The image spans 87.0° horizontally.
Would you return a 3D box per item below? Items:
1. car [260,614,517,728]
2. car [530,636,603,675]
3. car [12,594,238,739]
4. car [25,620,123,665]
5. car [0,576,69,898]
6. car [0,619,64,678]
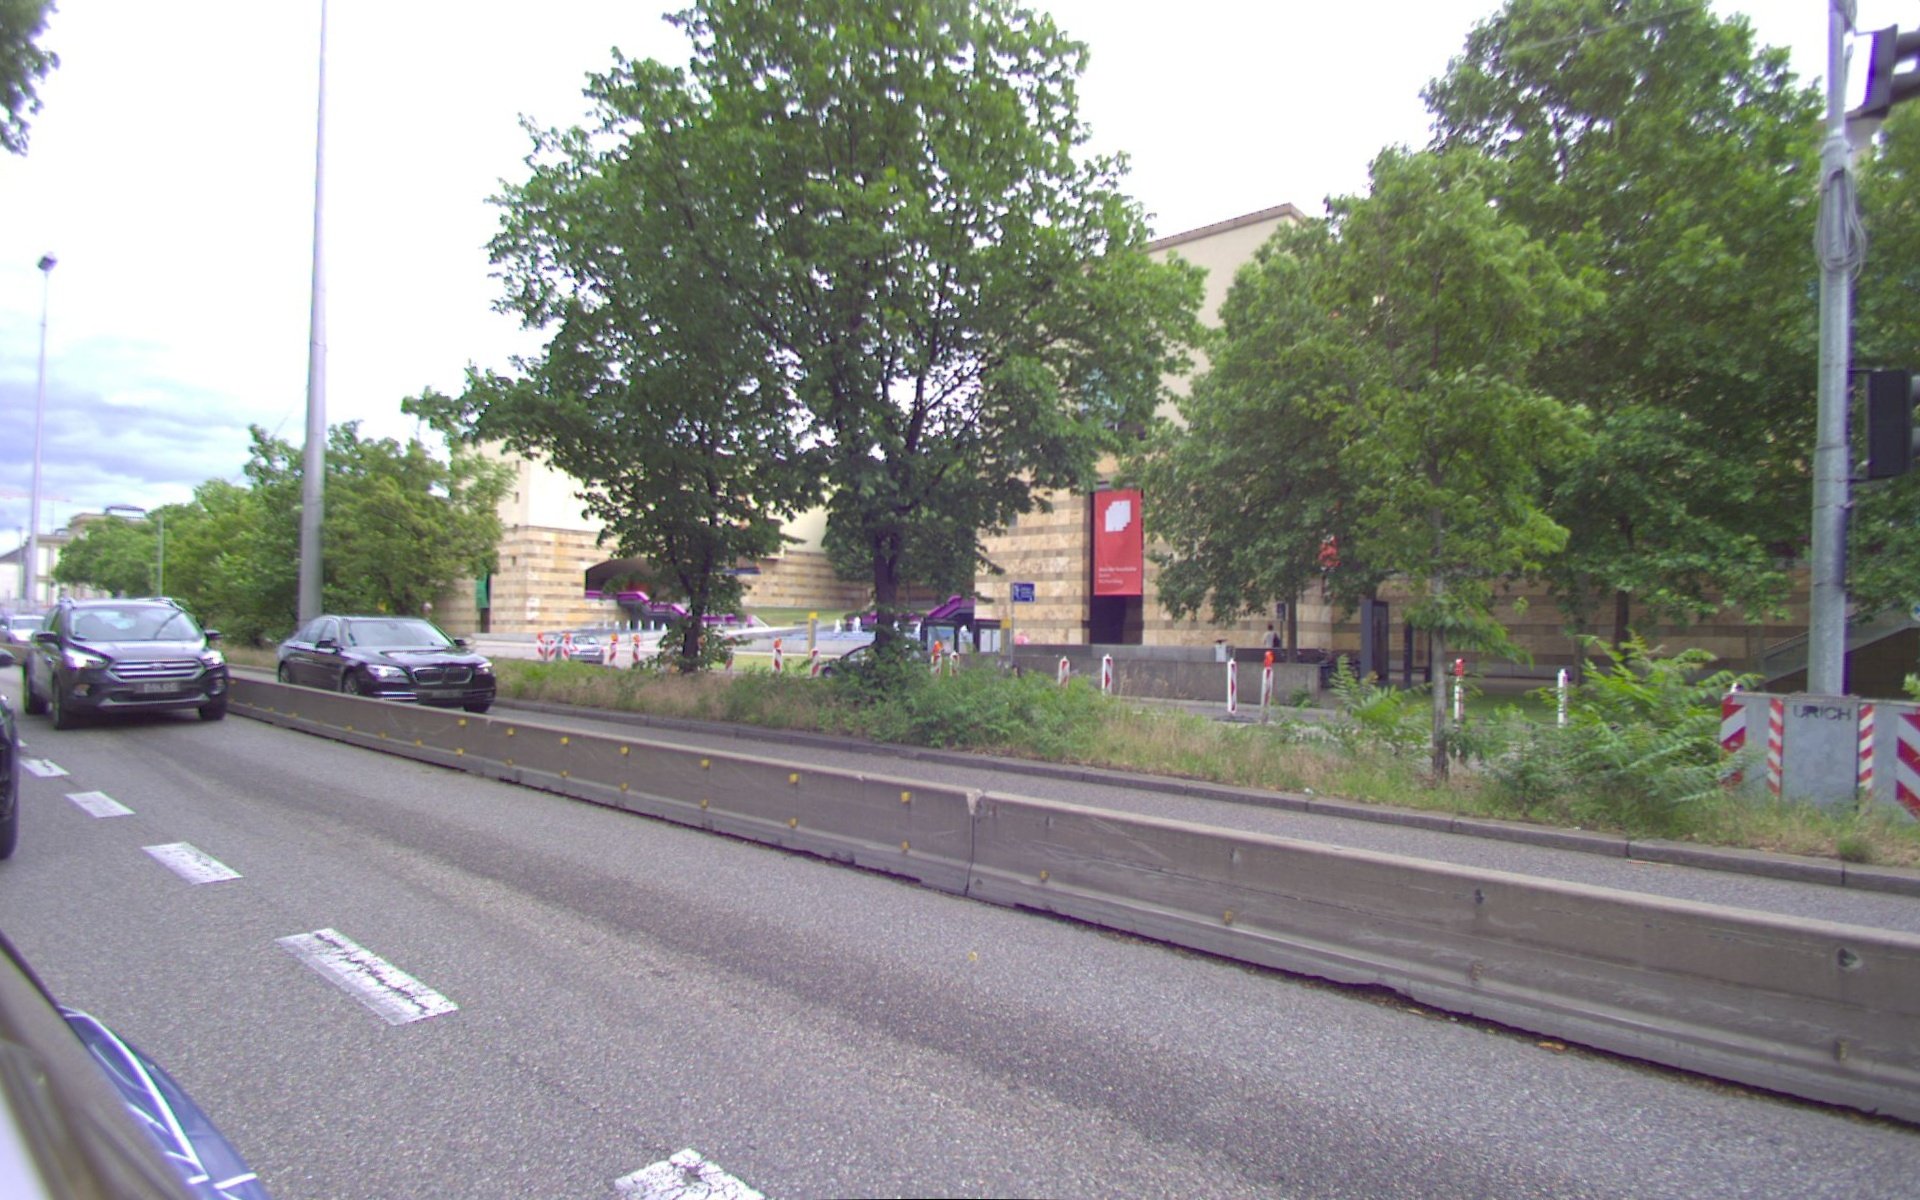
[{"bbox_3d":[-8.930,0.995,15.631,4.807,1.494,1.972,-1,-3,41],"label":"car"},{"bbox_3d":[-17.629,2.444,45.272,3.578,1.621,1.561,-1,-3,42],"label":"car"},{"bbox_3d":[-11.970,0.853,14.393,4.658,1.728,1.873,-2,-2,43],"label":"car"},{"bbox_3d":[-31.473,1.483,35.914,4.807,1.494,1.972,-1,-3,41],"label":"car"},{"bbox_3d":[-7.139,0.717,6.015,4.597,1.638,2.036,0,1,39],"label":"car"},{"bbox_3d":[-27.259,1.345,29.075,4.150,1.527,1.745,0,-1,41],"label":"car"}]
